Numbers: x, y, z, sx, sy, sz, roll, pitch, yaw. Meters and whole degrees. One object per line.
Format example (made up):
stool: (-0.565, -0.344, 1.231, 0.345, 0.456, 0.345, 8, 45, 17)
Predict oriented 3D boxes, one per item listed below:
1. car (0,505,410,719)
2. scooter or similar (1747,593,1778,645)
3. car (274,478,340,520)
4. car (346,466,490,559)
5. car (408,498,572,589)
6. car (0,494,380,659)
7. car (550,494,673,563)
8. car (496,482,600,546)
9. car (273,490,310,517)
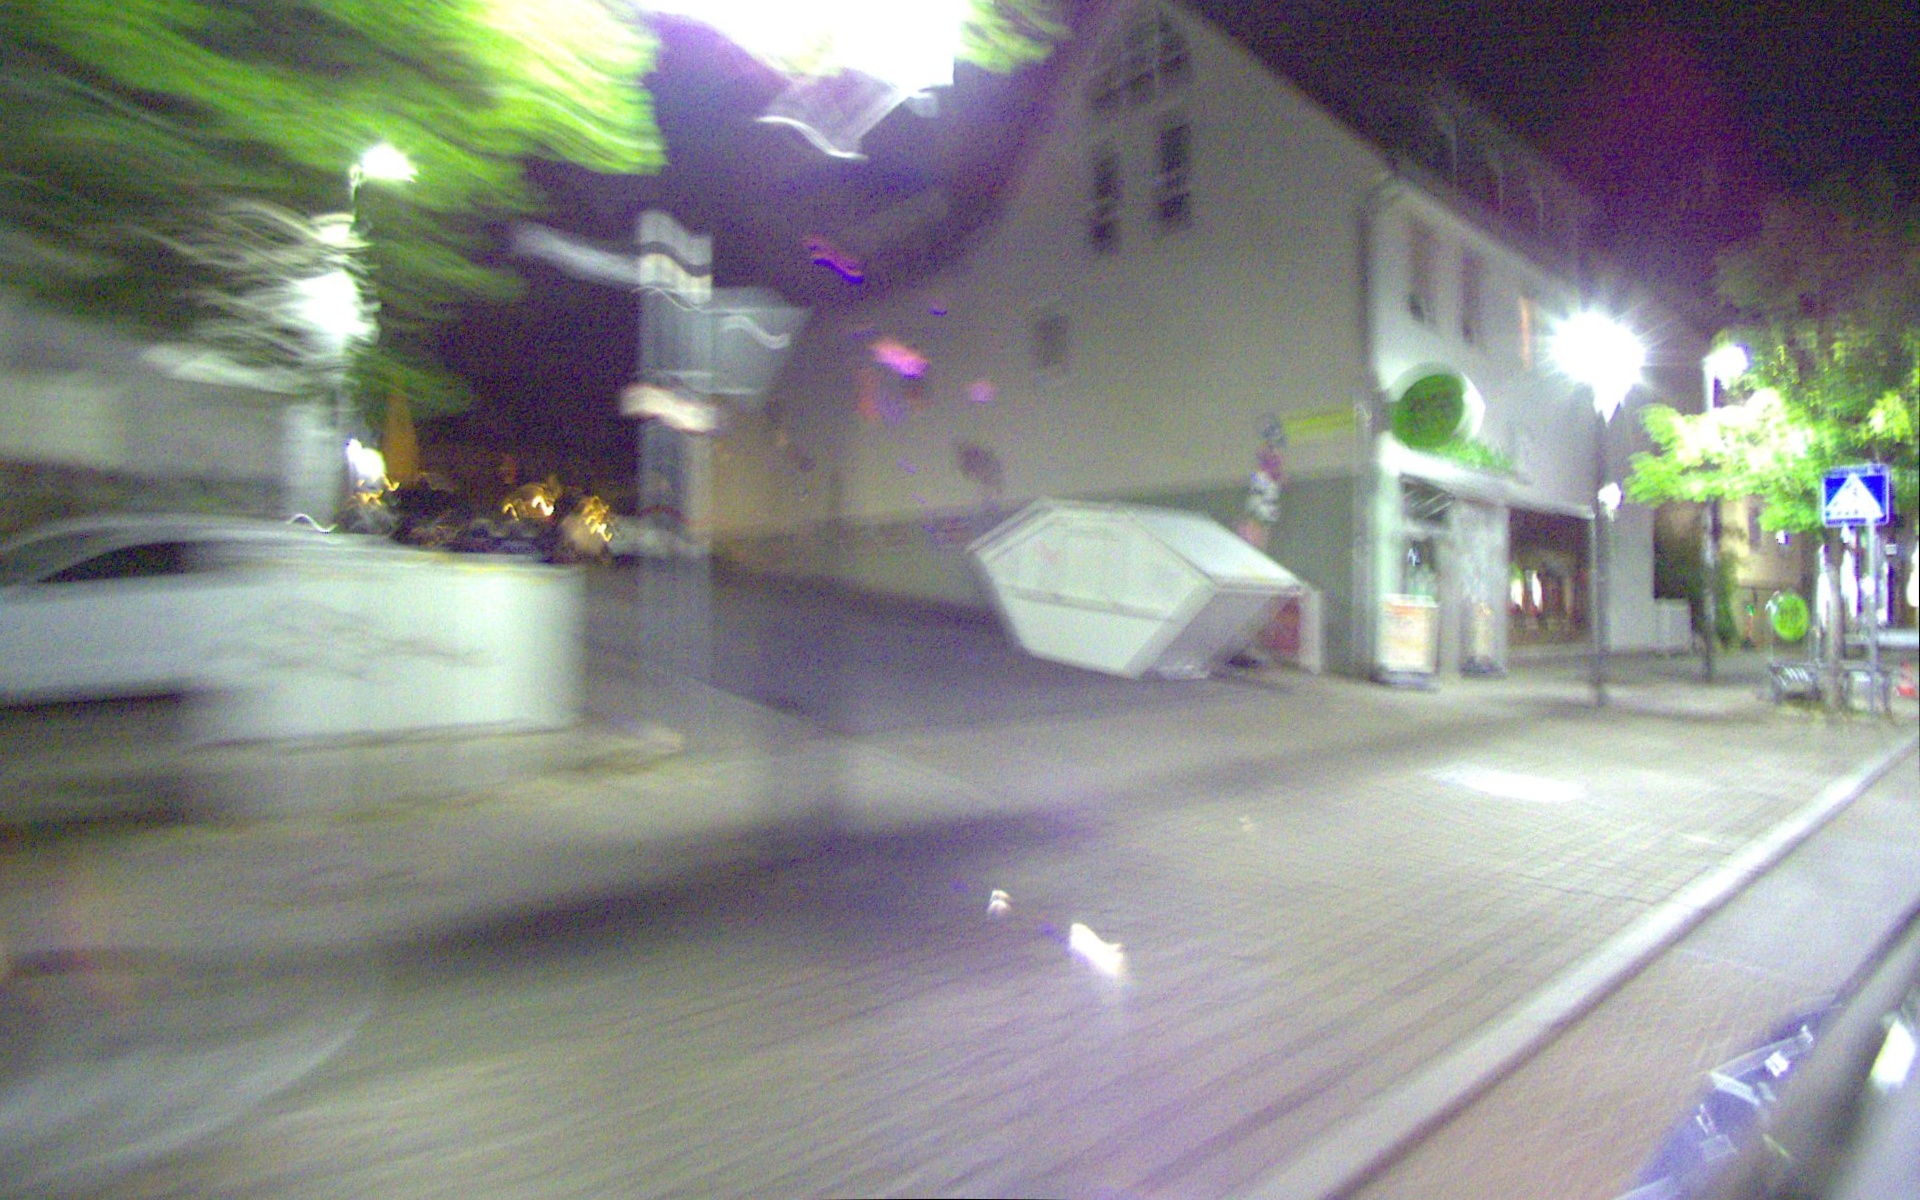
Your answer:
car: (-6.853, 0.007, 8.135, 3.988, 1.477, 1.808, -2, 6, -42)
scooter or similar: (20.799, 0.486, 26.239, 1.282, 1.292, 0.374, -2, 1, -40)
car: (-26.884, -4.152, 41.616, 1.698, 1.488, 4.054, -2, 8, -42)
car: (-12.809, -2.108, 23.755, 1.901, 1.888, 4.857, -2, 8, -42)
car: (-8.918, -1.118, 19.014, 1.698, 1.355, 4.054, -2, 8, -42)
car: (-8.454, -0.310, 10.461, 3.988, 1.477, 1.808, -2, 6, -42)
car: (-9.550, -1.976, 27.586, 1.698, 1.567, 4.054, 0, 7, -42)
car: (-12.697, -2.678, 31.053, 1.697, 1.667, 4.055, 0, 7, -41)
car: (-48.318, -6.971, 73.094, 1.697, 1.667, 4.055, 0, 7, -41)
